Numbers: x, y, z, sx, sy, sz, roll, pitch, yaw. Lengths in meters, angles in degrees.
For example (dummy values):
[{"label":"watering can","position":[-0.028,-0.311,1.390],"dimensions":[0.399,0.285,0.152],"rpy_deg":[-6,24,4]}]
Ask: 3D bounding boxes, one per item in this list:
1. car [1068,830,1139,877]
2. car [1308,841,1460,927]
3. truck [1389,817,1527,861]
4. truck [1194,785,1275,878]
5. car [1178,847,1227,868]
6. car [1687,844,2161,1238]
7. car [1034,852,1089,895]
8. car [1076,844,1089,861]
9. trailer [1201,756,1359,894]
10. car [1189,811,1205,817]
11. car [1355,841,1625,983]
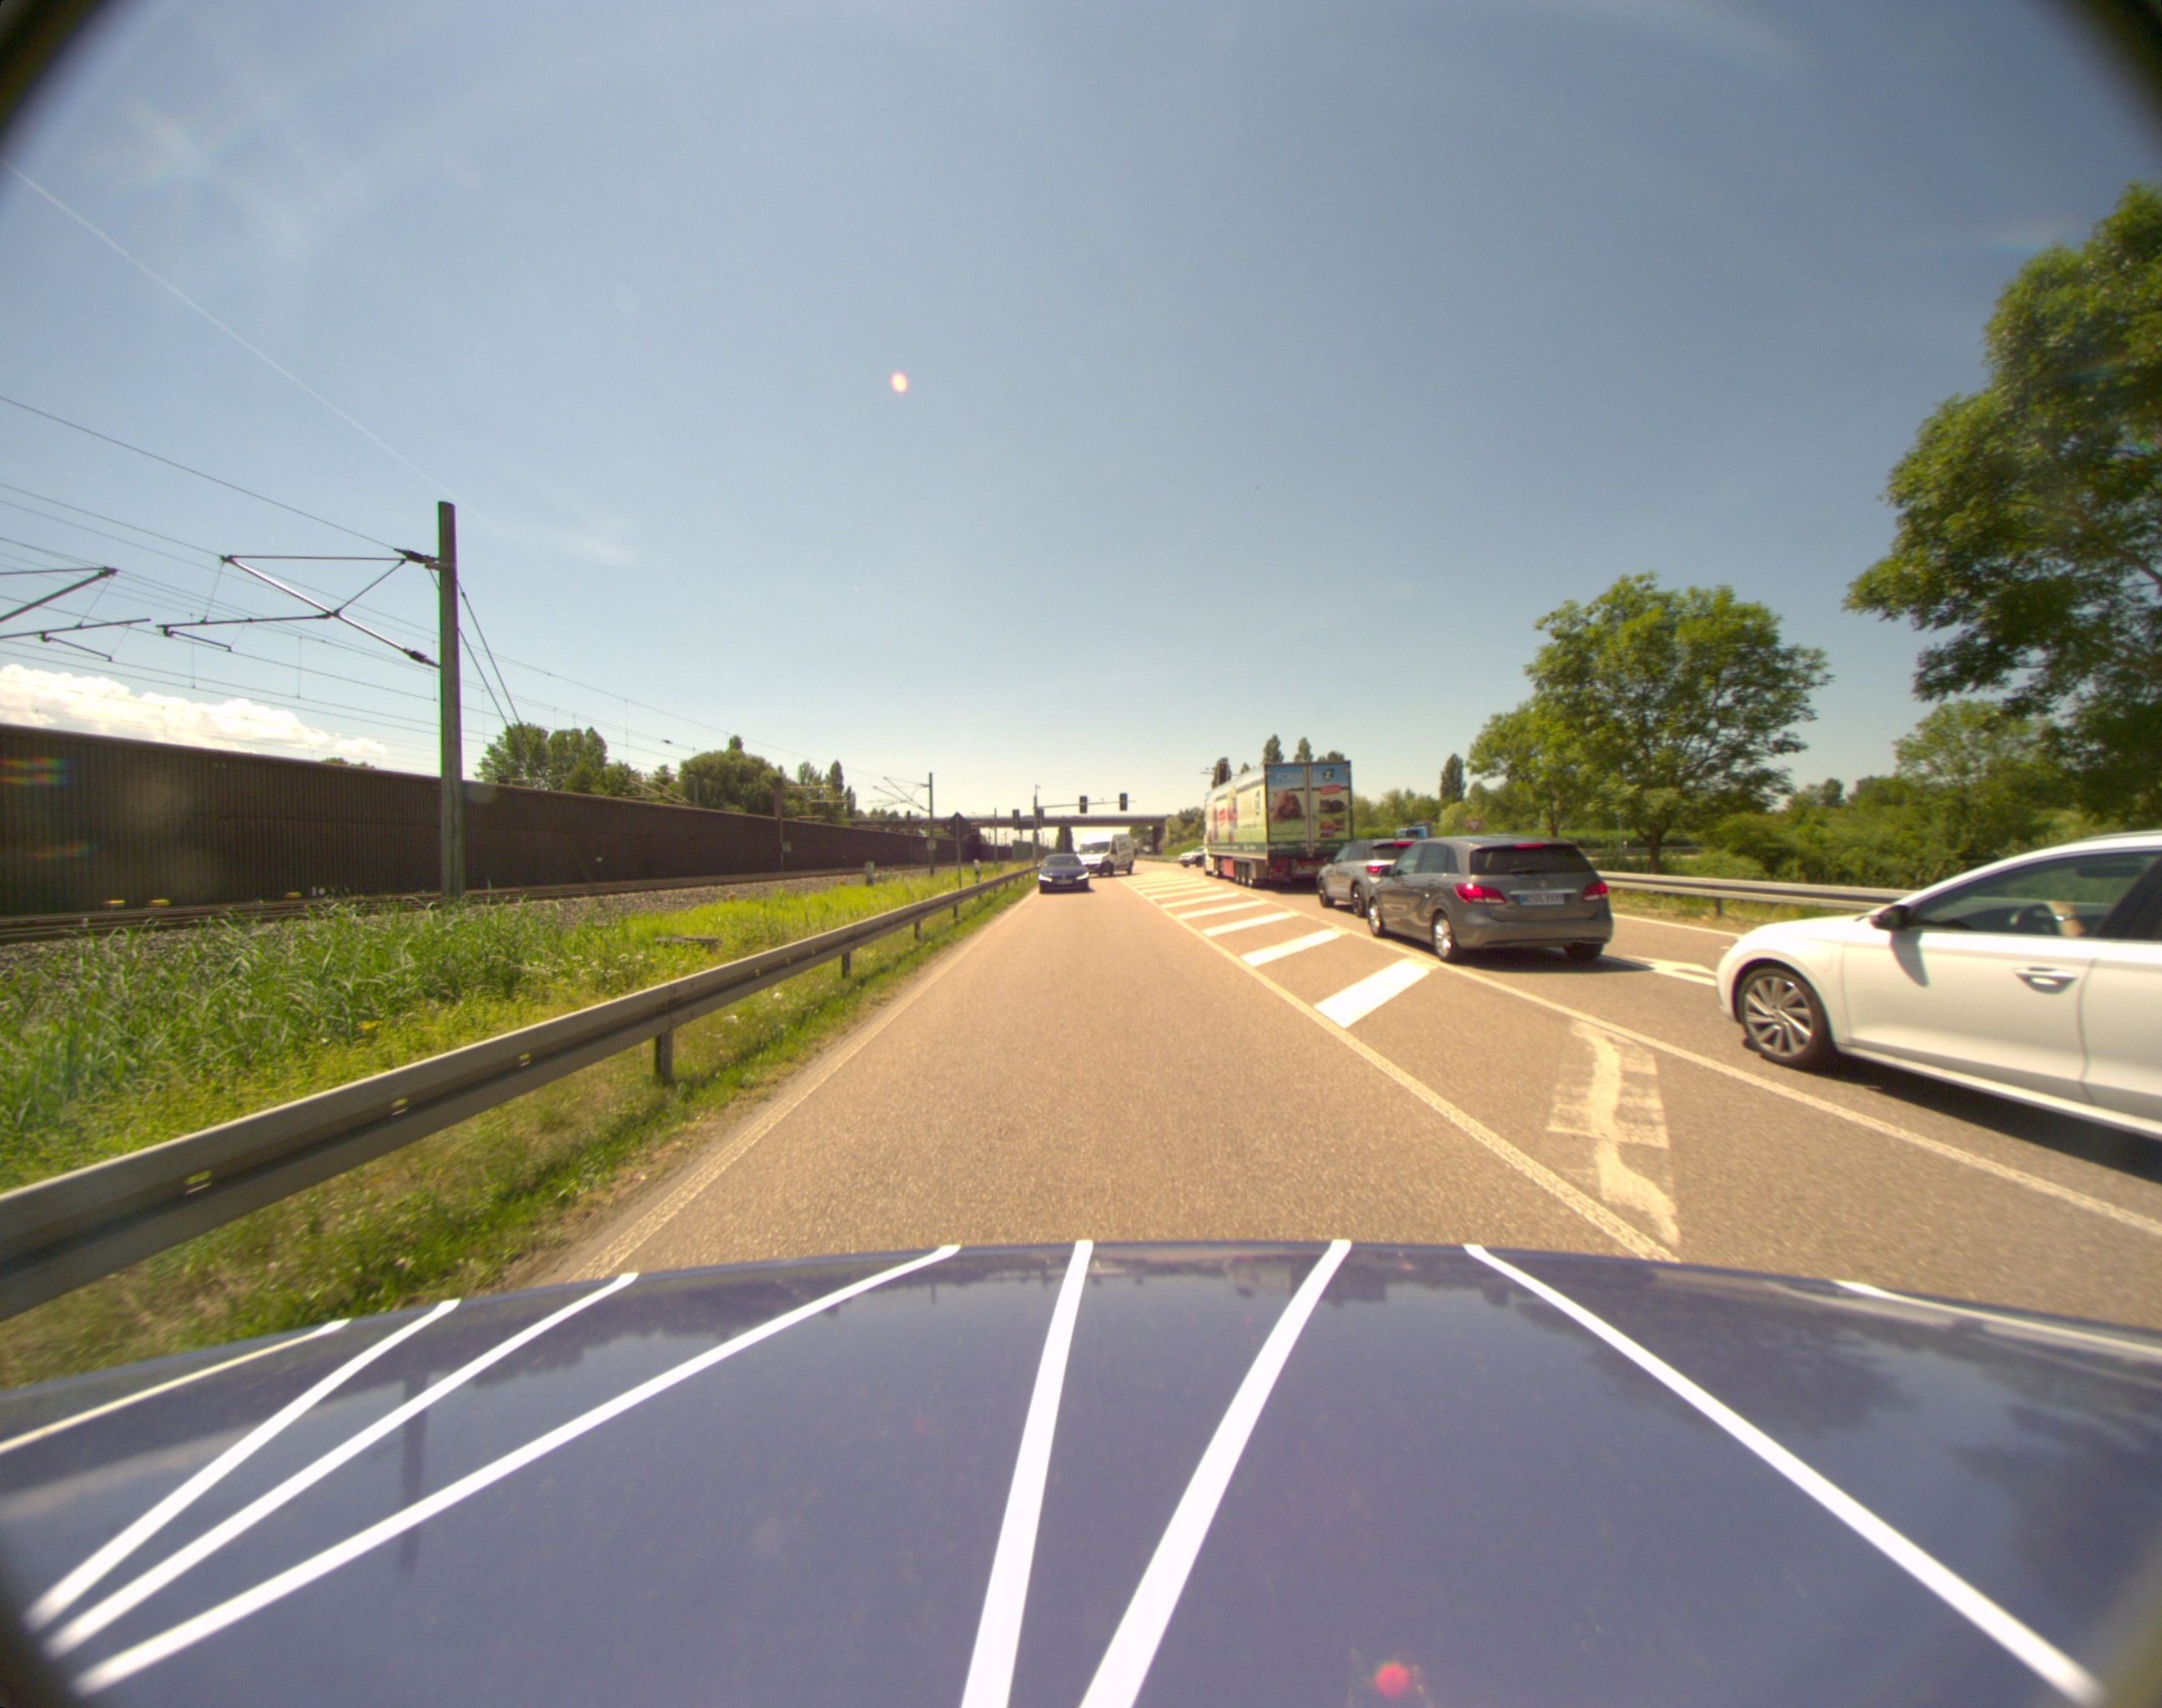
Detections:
[{"label":"car","position":[1.412,-0.036,43.924],"dimensions":[2.225,2.480,5.990],"rpy_deg":[-2,0,20]},{"label":"car","position":[6.321,0.547,16.350],"dimensions":[1.716,1.553,4.154],"rpy_deg":[-2,1,2]},{"label":"truck","position":[28.751,-1.109,58.188],"dimensions":[9.168,3.177,2.696],"rpy_deg":[-1,1,3]},{"label":"truck","position":[7.236,-1.034,36.587],"dimensions":[2.696,4.022,5.825],"rpy_deg":[-3,1,1]},{"label":"car","position":[8.996,0.248,56.212],"dimensions":[1.716,1.427,3.967],"rpy_deg":[0,1,41]},{"label":"car","position":[4.985,0.719,3.030],"dimensions":[1.657,1.470,4.631],"rpy_deg":[-2,0,4]},{"label":"car","position":[-0.651,0.692,29.077],"dimensions":[1.847,1.415,4.562],"rpy_deg":[-2,1,1]},{"label":"car","position":[0.241,-0.265,117.983],"dimensions":[1.911,2.427,4.648],"rpy_deg":[-2,0,1]},{"label":"trailer","position":[7.078,-0.944,29.796],"dimensions":[2.696,4.021,14.123],"rpy_deg":[-3,1,1]},{"label":"car","position":[27.179,-9.361,177.966],"dimensions":[3.623,1.359,1.503],"rpy_deg":[-1,-1,2]},{"label":"car","position":[5.231,0.624,10.449],"dimensions":[1.627,1.529,4.385],"rpy_deg":[-1,0,4]}]
